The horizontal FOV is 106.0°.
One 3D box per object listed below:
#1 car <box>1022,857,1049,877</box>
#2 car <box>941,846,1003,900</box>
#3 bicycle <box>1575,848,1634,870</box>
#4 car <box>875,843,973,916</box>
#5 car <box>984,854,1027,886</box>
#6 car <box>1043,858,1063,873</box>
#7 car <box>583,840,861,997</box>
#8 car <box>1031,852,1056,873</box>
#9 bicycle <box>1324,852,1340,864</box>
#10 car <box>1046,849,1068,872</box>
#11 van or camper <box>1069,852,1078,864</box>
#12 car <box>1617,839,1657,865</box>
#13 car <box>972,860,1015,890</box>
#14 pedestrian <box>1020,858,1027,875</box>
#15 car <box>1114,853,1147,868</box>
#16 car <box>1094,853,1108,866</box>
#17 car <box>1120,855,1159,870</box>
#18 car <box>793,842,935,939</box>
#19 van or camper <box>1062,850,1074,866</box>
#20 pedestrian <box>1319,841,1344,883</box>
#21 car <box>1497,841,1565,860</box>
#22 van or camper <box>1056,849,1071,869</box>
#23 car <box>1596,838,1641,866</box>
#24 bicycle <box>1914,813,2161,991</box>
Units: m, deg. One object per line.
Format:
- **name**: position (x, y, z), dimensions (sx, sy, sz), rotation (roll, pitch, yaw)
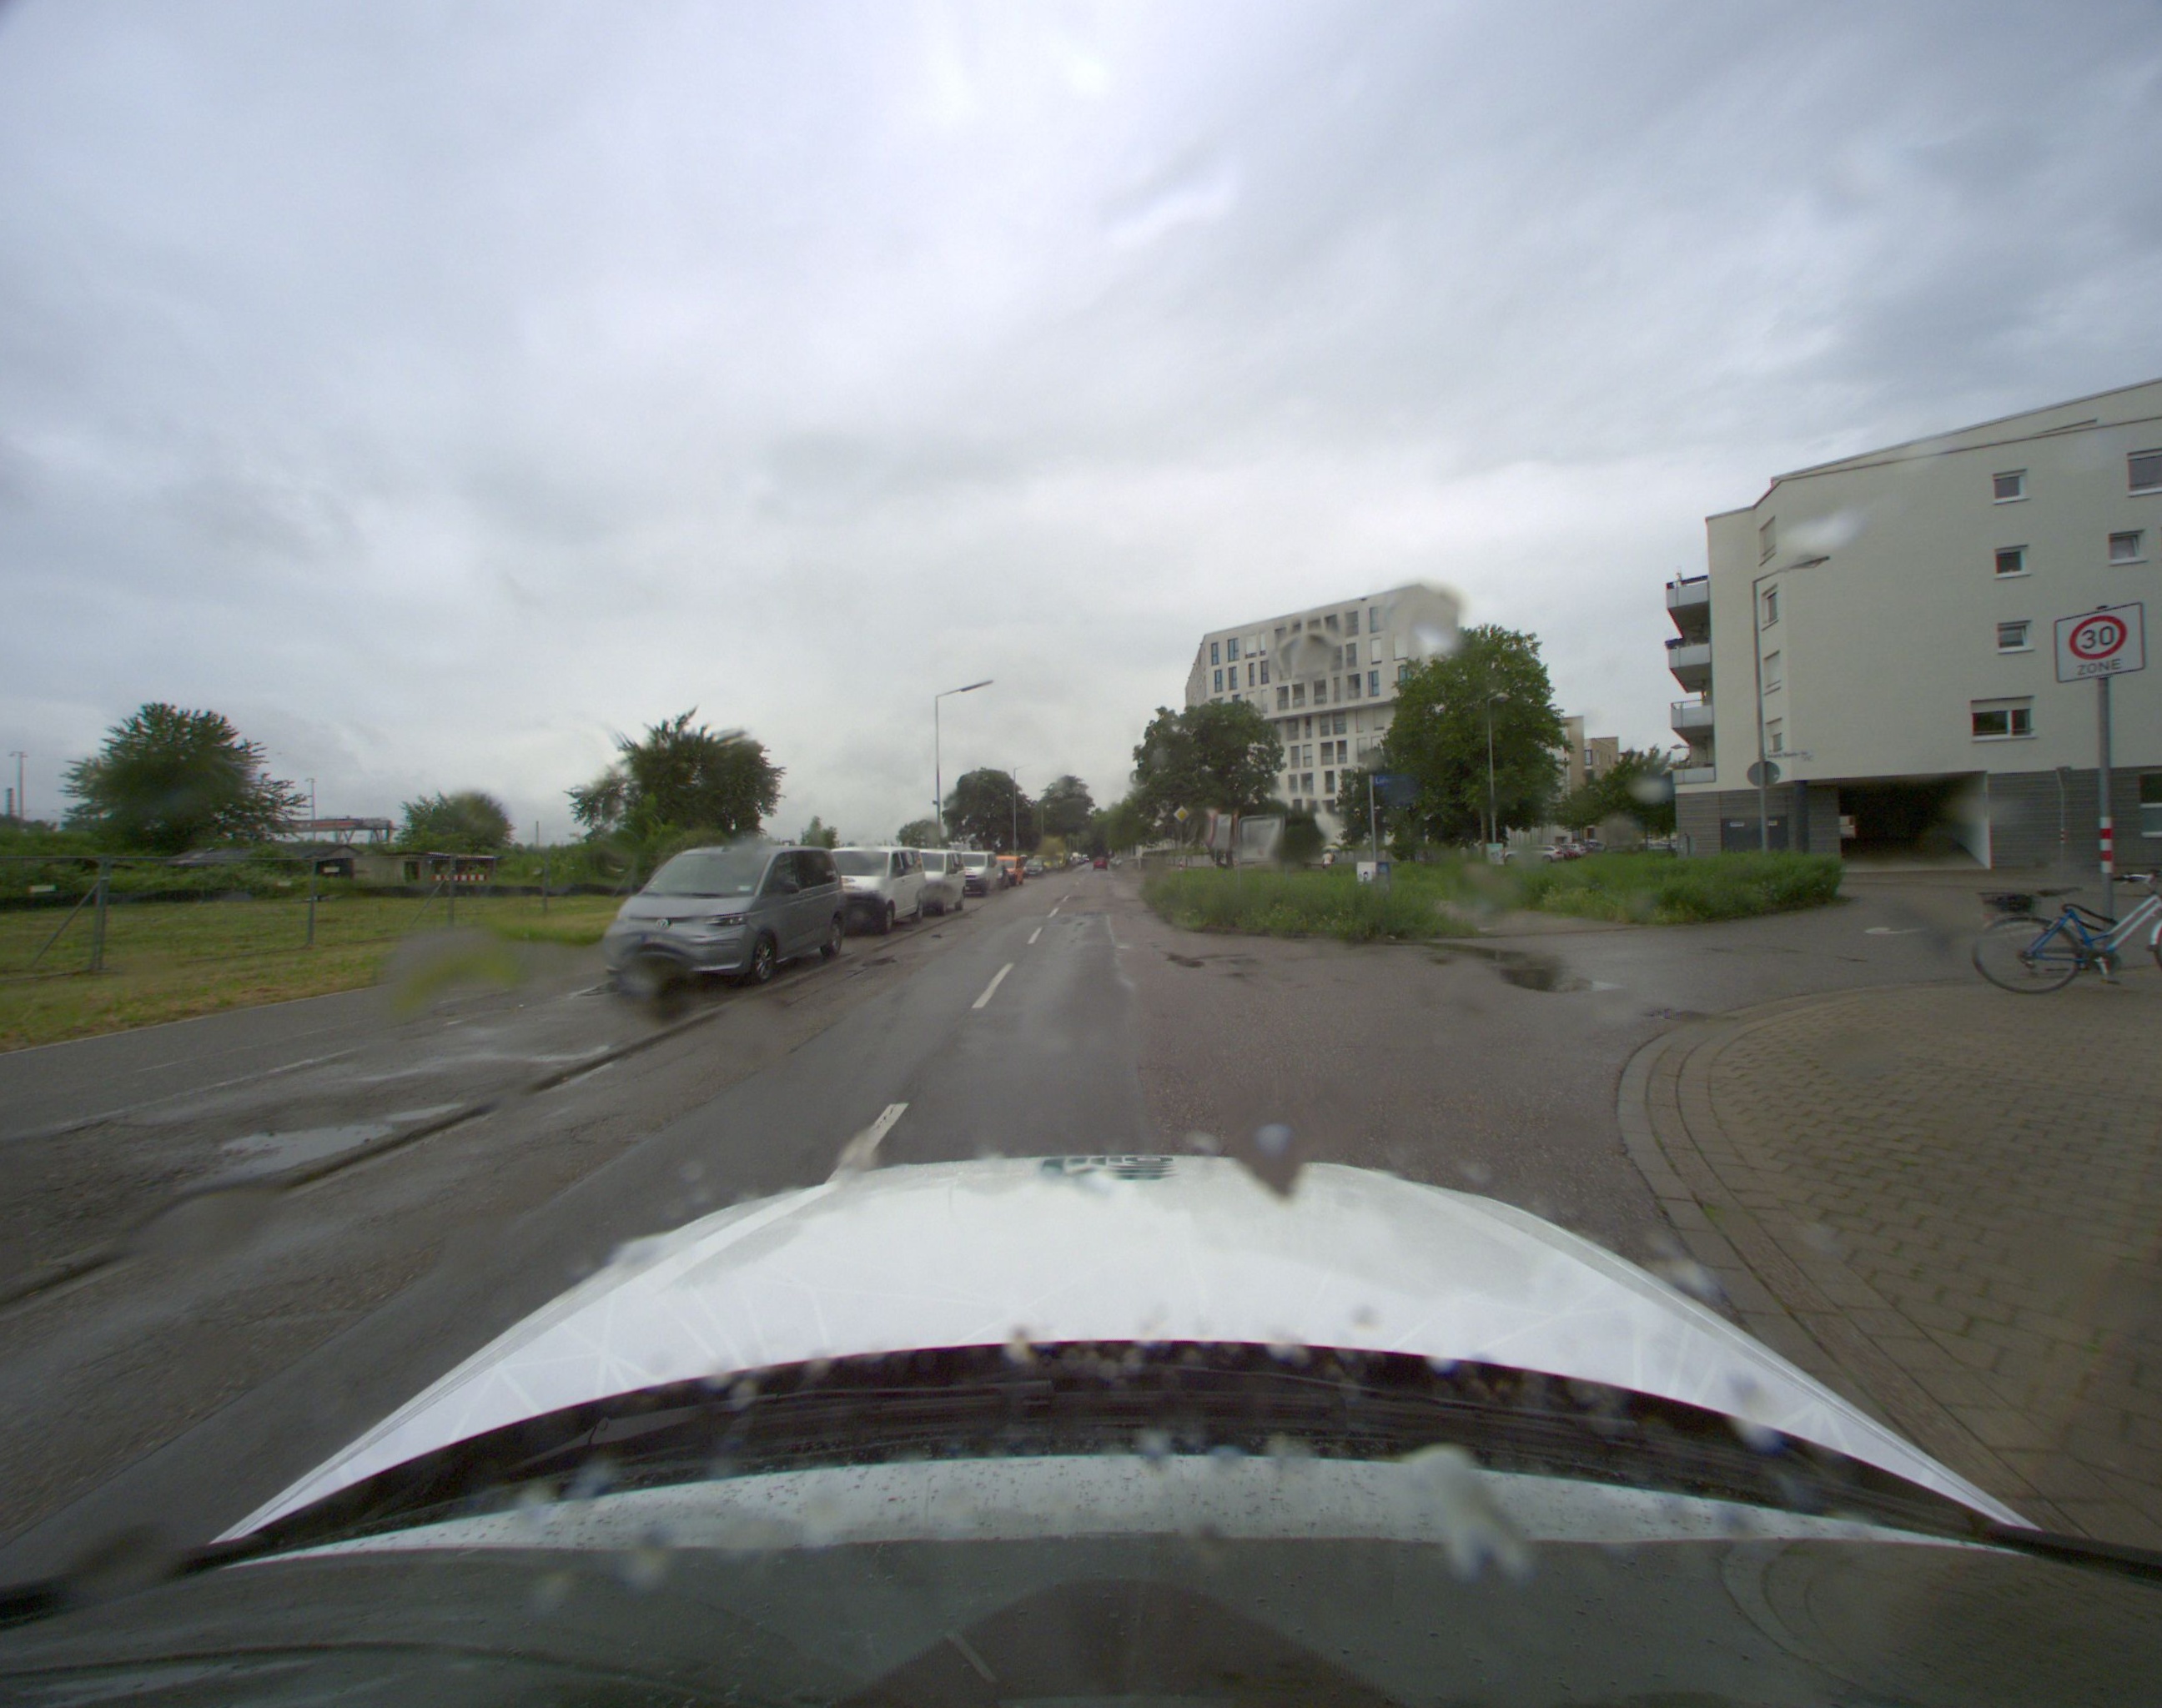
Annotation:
- **car**: position (-3.673, 1.019, 65.668), dimensions (1.797, 1.561, 4.034), rotation (1, 0, 2)
- **car**: position (-4.866, 0.812, 37.279), dimensions (1.936, 2.236, 5.558), rotation (-1, 0, 1)
- **bicycle**: position (27.225, 0.271, 42.400), dimensions (2.453, 1.087, 0.730), rotation (-2, 0, 42)
- **car**: position (-4.851, 0.737, 26.024), dimensions (1.952, 2.058, 5.276), rotation (0, 0, 2)
- **car**: position (-4.479, 0.911, 48.875), dimensions (1.932, 1.767, 4.334), rotation (-1, 0, 3)
- **car**: position (-3.105, 1.238, 90.835), dimensions (1.987, 1.594, 5.017), rotation (1, -1, 0)
- **car**: position (-5.115, 0.805, 12.565), dimensions (1.949, 1.901, 4.996), rotation (-1, 0, 1)
- **car**: position (-3.575, 0.849, 78.542), dimensions (2.010, 1.956, 6.066), rotation (0, -1, 1)
- **bicycle**: position (23.852, 0.380, 77.414), dimensions (0.716, 1.033, 2.086), rotation (-2, -1, 40)
- **car**: position (-2.999, 0.815, 102.861), dimensions (2.183, 2.694, 6.086), rotation (1, 0, 3)
- **van or camper**: position (-1.754, 1.005, 191.441), dimensions (1.986, 2.762, 7.900), rotation (0, -1, 2)
- **car**: position (35.731, -0.159, 52.275), dimensions (1.712, 1.548, 4.025), rotation (-2, 0, 40)
- **car**: position (-4.612, 1.070, 43.609), dimensions (1.678, 1.502, 4.893), rotation (-1, 0, 1)
- **pedestrian**: position (-6.677, 1.432, 94.507), dimensions (0.739, 2.014, 0.981), rotation (0, -1, 2)
- **car**: position (7.295, 0.969, 120.741), dimensions (4.527, 1.685, 1.884), rotation (-6, -1, -2)
- **car**: position (2.653, 0.733, 106.906), dimensions (1.750, 1.706, 4.001), rotation (-1, 0, 1)
- **car**: position (7.044, 1.037, 97.833), dimensions (4.472, 1.481, 1.692), rotation (-4, -1, 0)
- **car**: position (-5.084, 0.777, 19.938), dimensions (1.888, 2.013, 5.260), rotation (-1, 0, 2)
- **van or camper**: position (-2.273, 0.780, 143.318), dimensions (2.088, 2.716, 7.571), rotation (1, -1, 0)
- **pedestrian**: position (12.369, 0.385, 40.232), dimensions (0.962, 2.013, 0.623), rotation (-2, 0, 1)
- **car**: position (37.696, -0.312, 68.339), dimensions (4.775, 1.507, 1.635), rotation (1, 1, 42)
- **van or camper**: position (-2.647, 0.783, 127.029), dimensions (2.087, 3.094, 6.423), rotation (1, -1, 0)
- **car**: position (31.476, -0.094, 47.680), dimensions (1.712, 1.548, 4.146), rotation (-2, -2, 40)
- **bicycle**: position (9.154, 0.415, 7.355), dimensions (2.168, 1.522, 0.634), rotation (-3, -1, 21)
